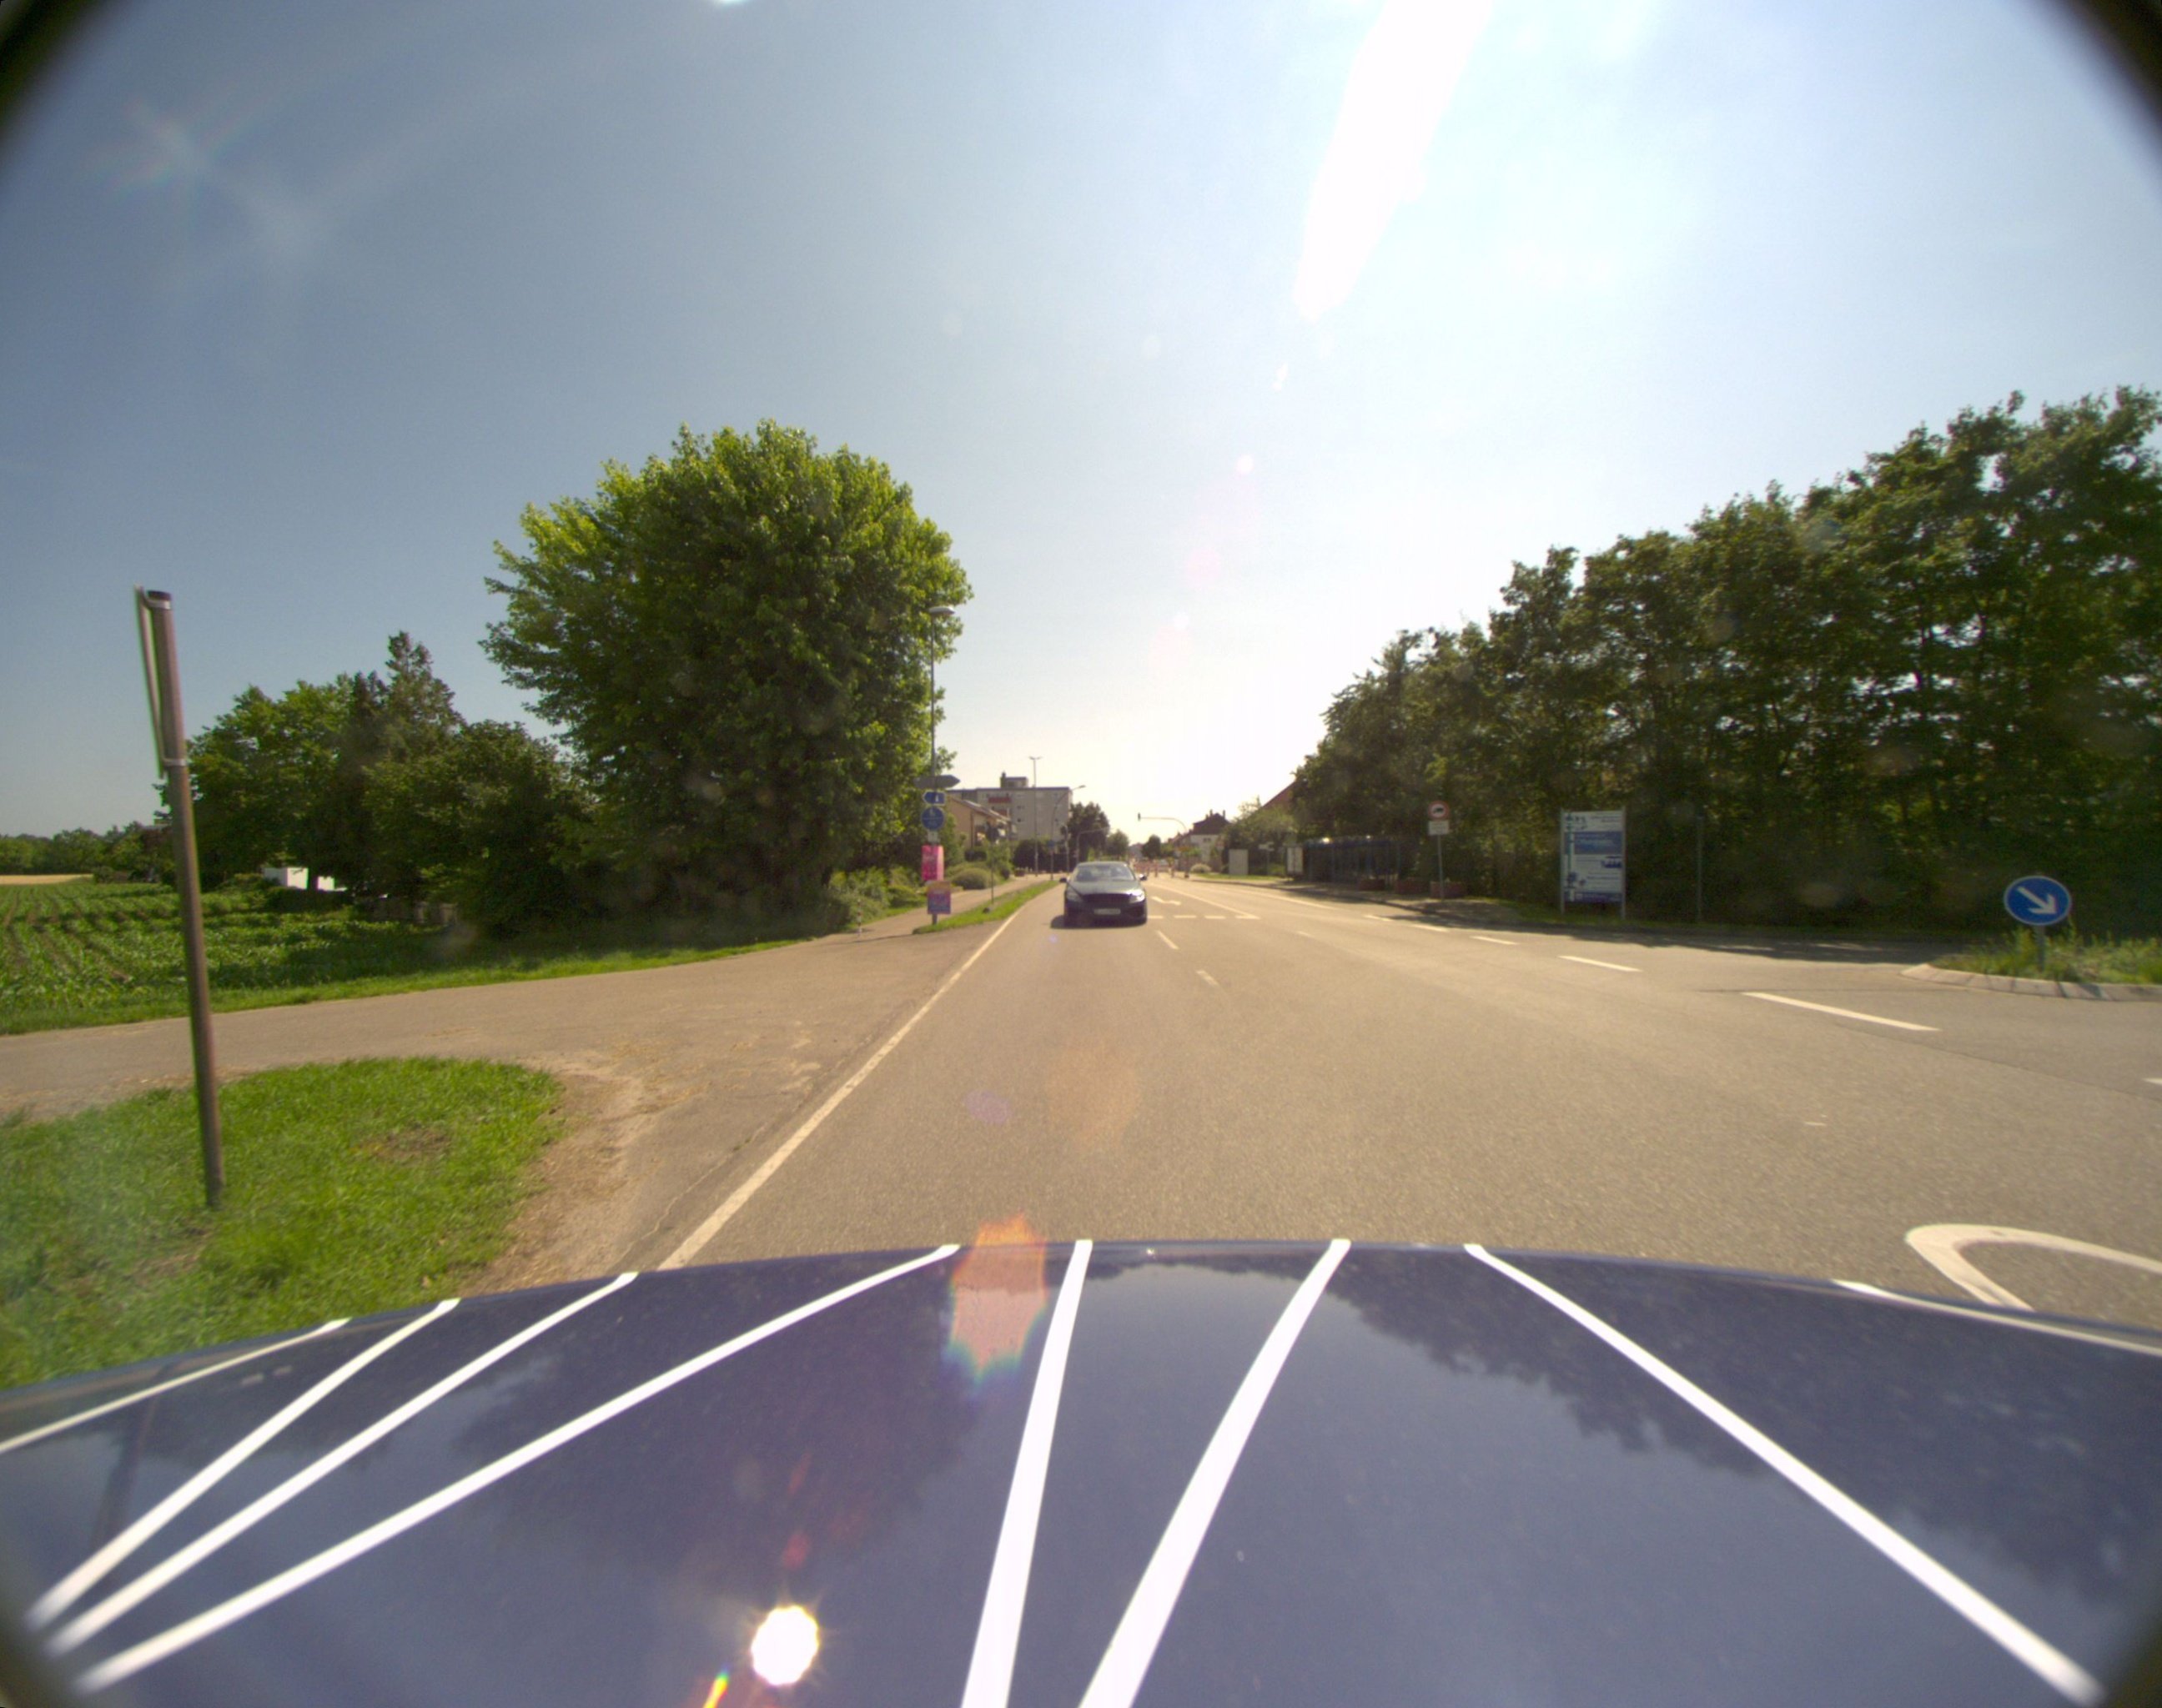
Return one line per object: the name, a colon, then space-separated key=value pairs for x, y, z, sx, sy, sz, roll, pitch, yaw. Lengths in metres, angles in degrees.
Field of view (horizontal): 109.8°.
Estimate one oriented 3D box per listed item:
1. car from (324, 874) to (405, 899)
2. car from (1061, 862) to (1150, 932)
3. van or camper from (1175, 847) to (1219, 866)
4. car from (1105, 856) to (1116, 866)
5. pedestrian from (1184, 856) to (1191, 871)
car: x=-52.463 y=2.383 z=55.743 sx=1.998 sy=1.608 sz=4.000 roll=-2 pitch=0 yaw=1
car: x=0.537 y=0.964 z=18.869 sx=1.889 sy=1.429 sz=4.838 roll=-2 pitch=0 yaw=0
van or camper: x=17.917 y=0.398 z=117.313 sx=6.261 sy=2.827 sz=2.289 roll=0 pitch=0 yaw=-5
car: x=5.109 y=1.197 z=133.330 sx=1.872 sy=1.585 sz=4.617 roll=0 pitch=0 yaw=2
pedestrian: x=11.425 y=1.028 z=81.798 sx=0.615 sy=1.598 sz=0.688 roll=-4 pitch=0 yaw=4
